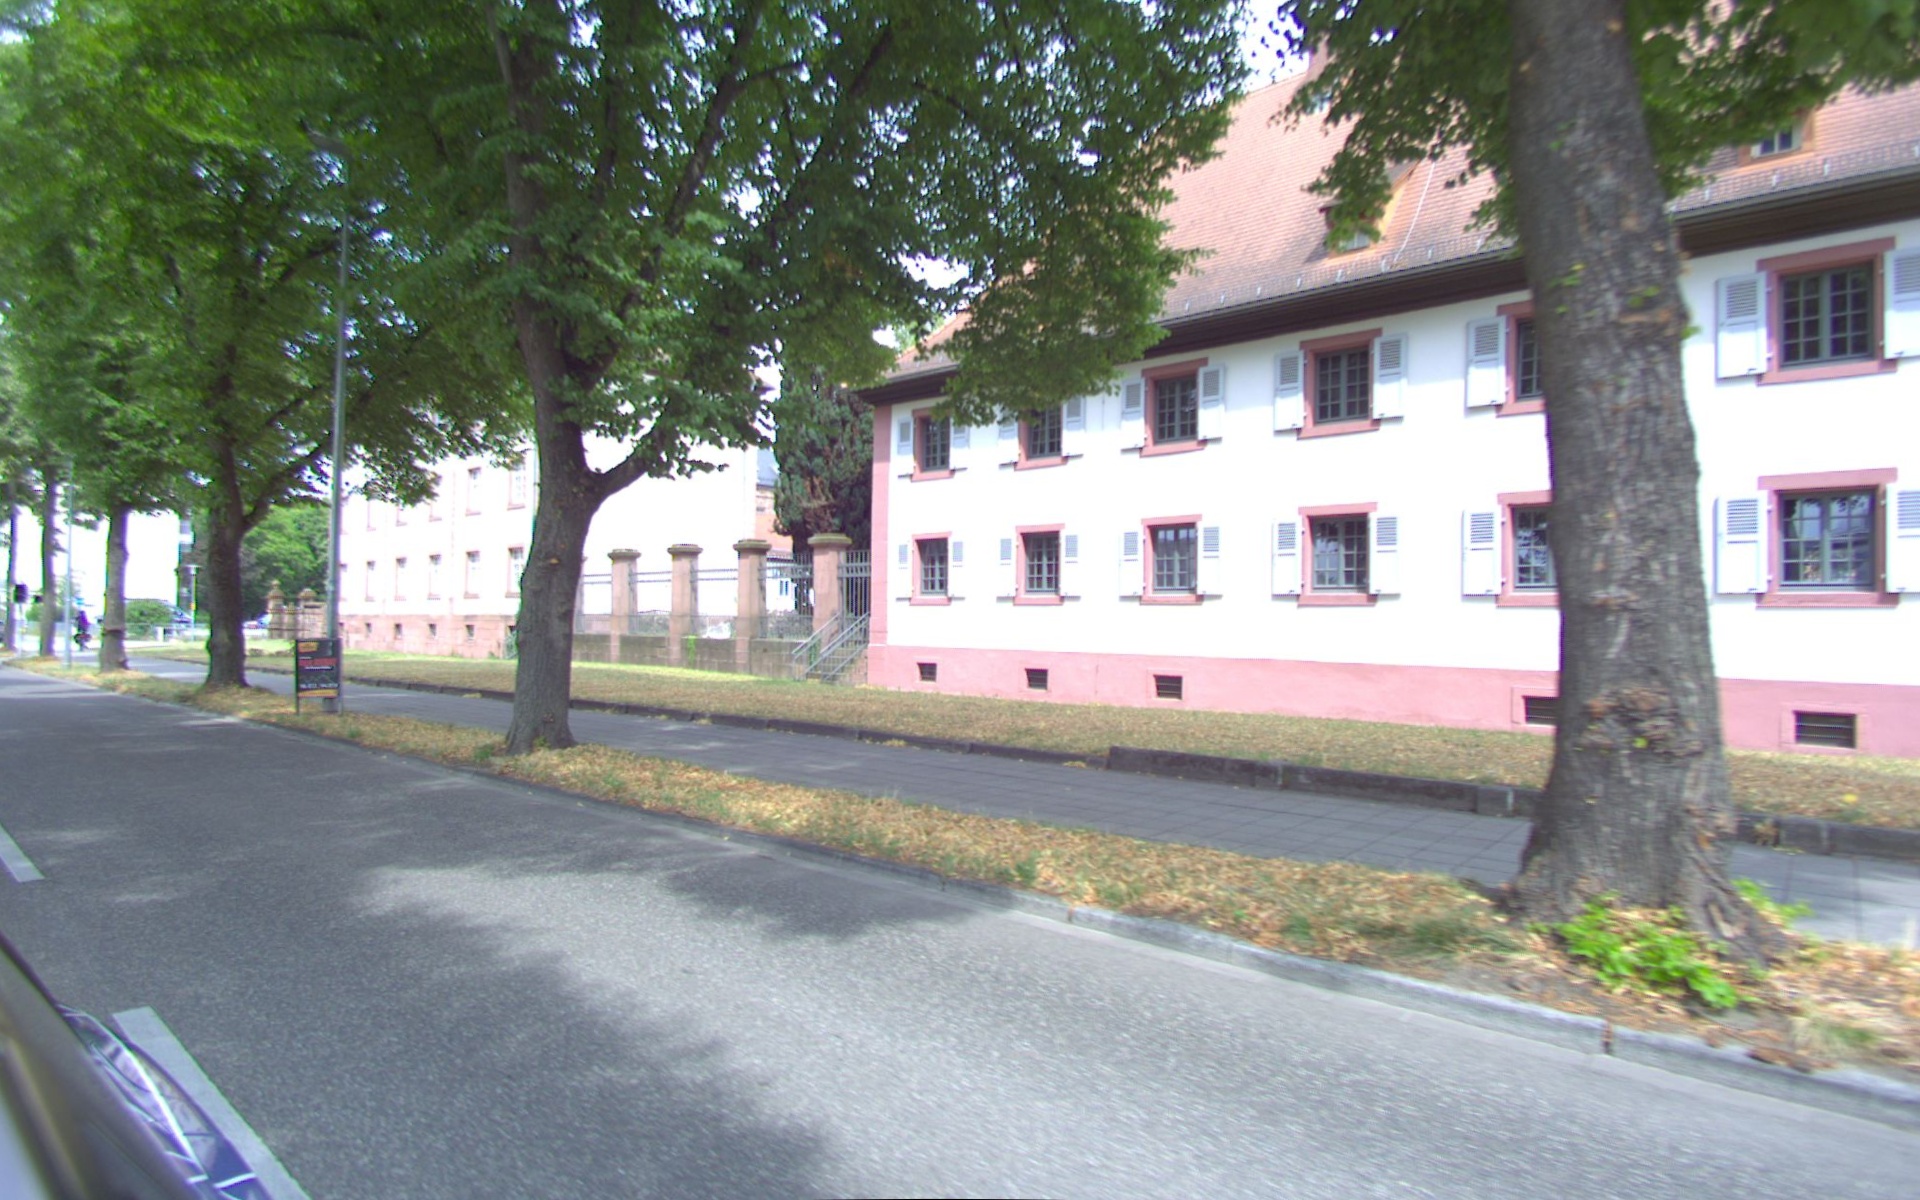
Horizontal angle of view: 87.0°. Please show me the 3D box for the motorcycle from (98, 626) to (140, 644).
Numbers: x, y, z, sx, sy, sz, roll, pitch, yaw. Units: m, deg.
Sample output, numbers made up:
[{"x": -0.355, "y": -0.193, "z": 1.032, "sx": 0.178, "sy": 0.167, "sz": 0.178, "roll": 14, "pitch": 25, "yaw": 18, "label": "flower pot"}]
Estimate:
[{"x": -55.583, "y": 2.311, "z": 66.906, "sx": 2.066, "sy": 1.151, "sz": 0.725, "roll": 5, "pitch": -4, "yaw": -45, "label": "motorcycle"}]

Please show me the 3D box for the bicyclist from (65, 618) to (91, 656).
[{"x": -39.830, "y": 1.673, "z": 45.688, "sx": 0.958, "sy": 1.668, "sz": 0.715, "roll": -2, "pitch": 1, "yaw": 41, "label": "bicyclist"}]

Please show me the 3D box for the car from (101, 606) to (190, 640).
[{"x": -65.694, "y": 1.813, "z": 81.678, "sx": 2.354, "sy": 2.571, "sz": 5.254, "roll": -1, "pitch": 0, "yaw": 42, "label": "car"}]

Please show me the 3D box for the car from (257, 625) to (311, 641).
[{"x": -65.099, "y": 3.138, "z": 97.503, "sx": 1.969, "sy": 1.494, "sz": 3.945, "roll": -1, "pitch": -2, "yaw": 41, "label": "car"}]

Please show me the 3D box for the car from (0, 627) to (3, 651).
[{"x": -62.108, "y": 2.478, "z": 63.958, "sx": 4.293, "sy": 1.484, "sz": 1.804, "roll": -2, "pitch": -1, "yaw": 39, "label": "car"}]

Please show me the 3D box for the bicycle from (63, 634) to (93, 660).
[{"x": -39.840, "y": 2.105, "z": 45.707, "sx": 2.150, "sy": 1.103, "sz": 0.715, "roll": -2, "pitch": 1, "yaw": 41, "label": "bicycle"}]

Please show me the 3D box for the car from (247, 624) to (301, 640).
[{"x": -67.146, "y": 3.132, "z": 99.091, "sx": 1.857, "sy": 1.494, "sz": 3.945, "roll": -1, "pitch": -2, "yaw": 41, "label": "car"}]
